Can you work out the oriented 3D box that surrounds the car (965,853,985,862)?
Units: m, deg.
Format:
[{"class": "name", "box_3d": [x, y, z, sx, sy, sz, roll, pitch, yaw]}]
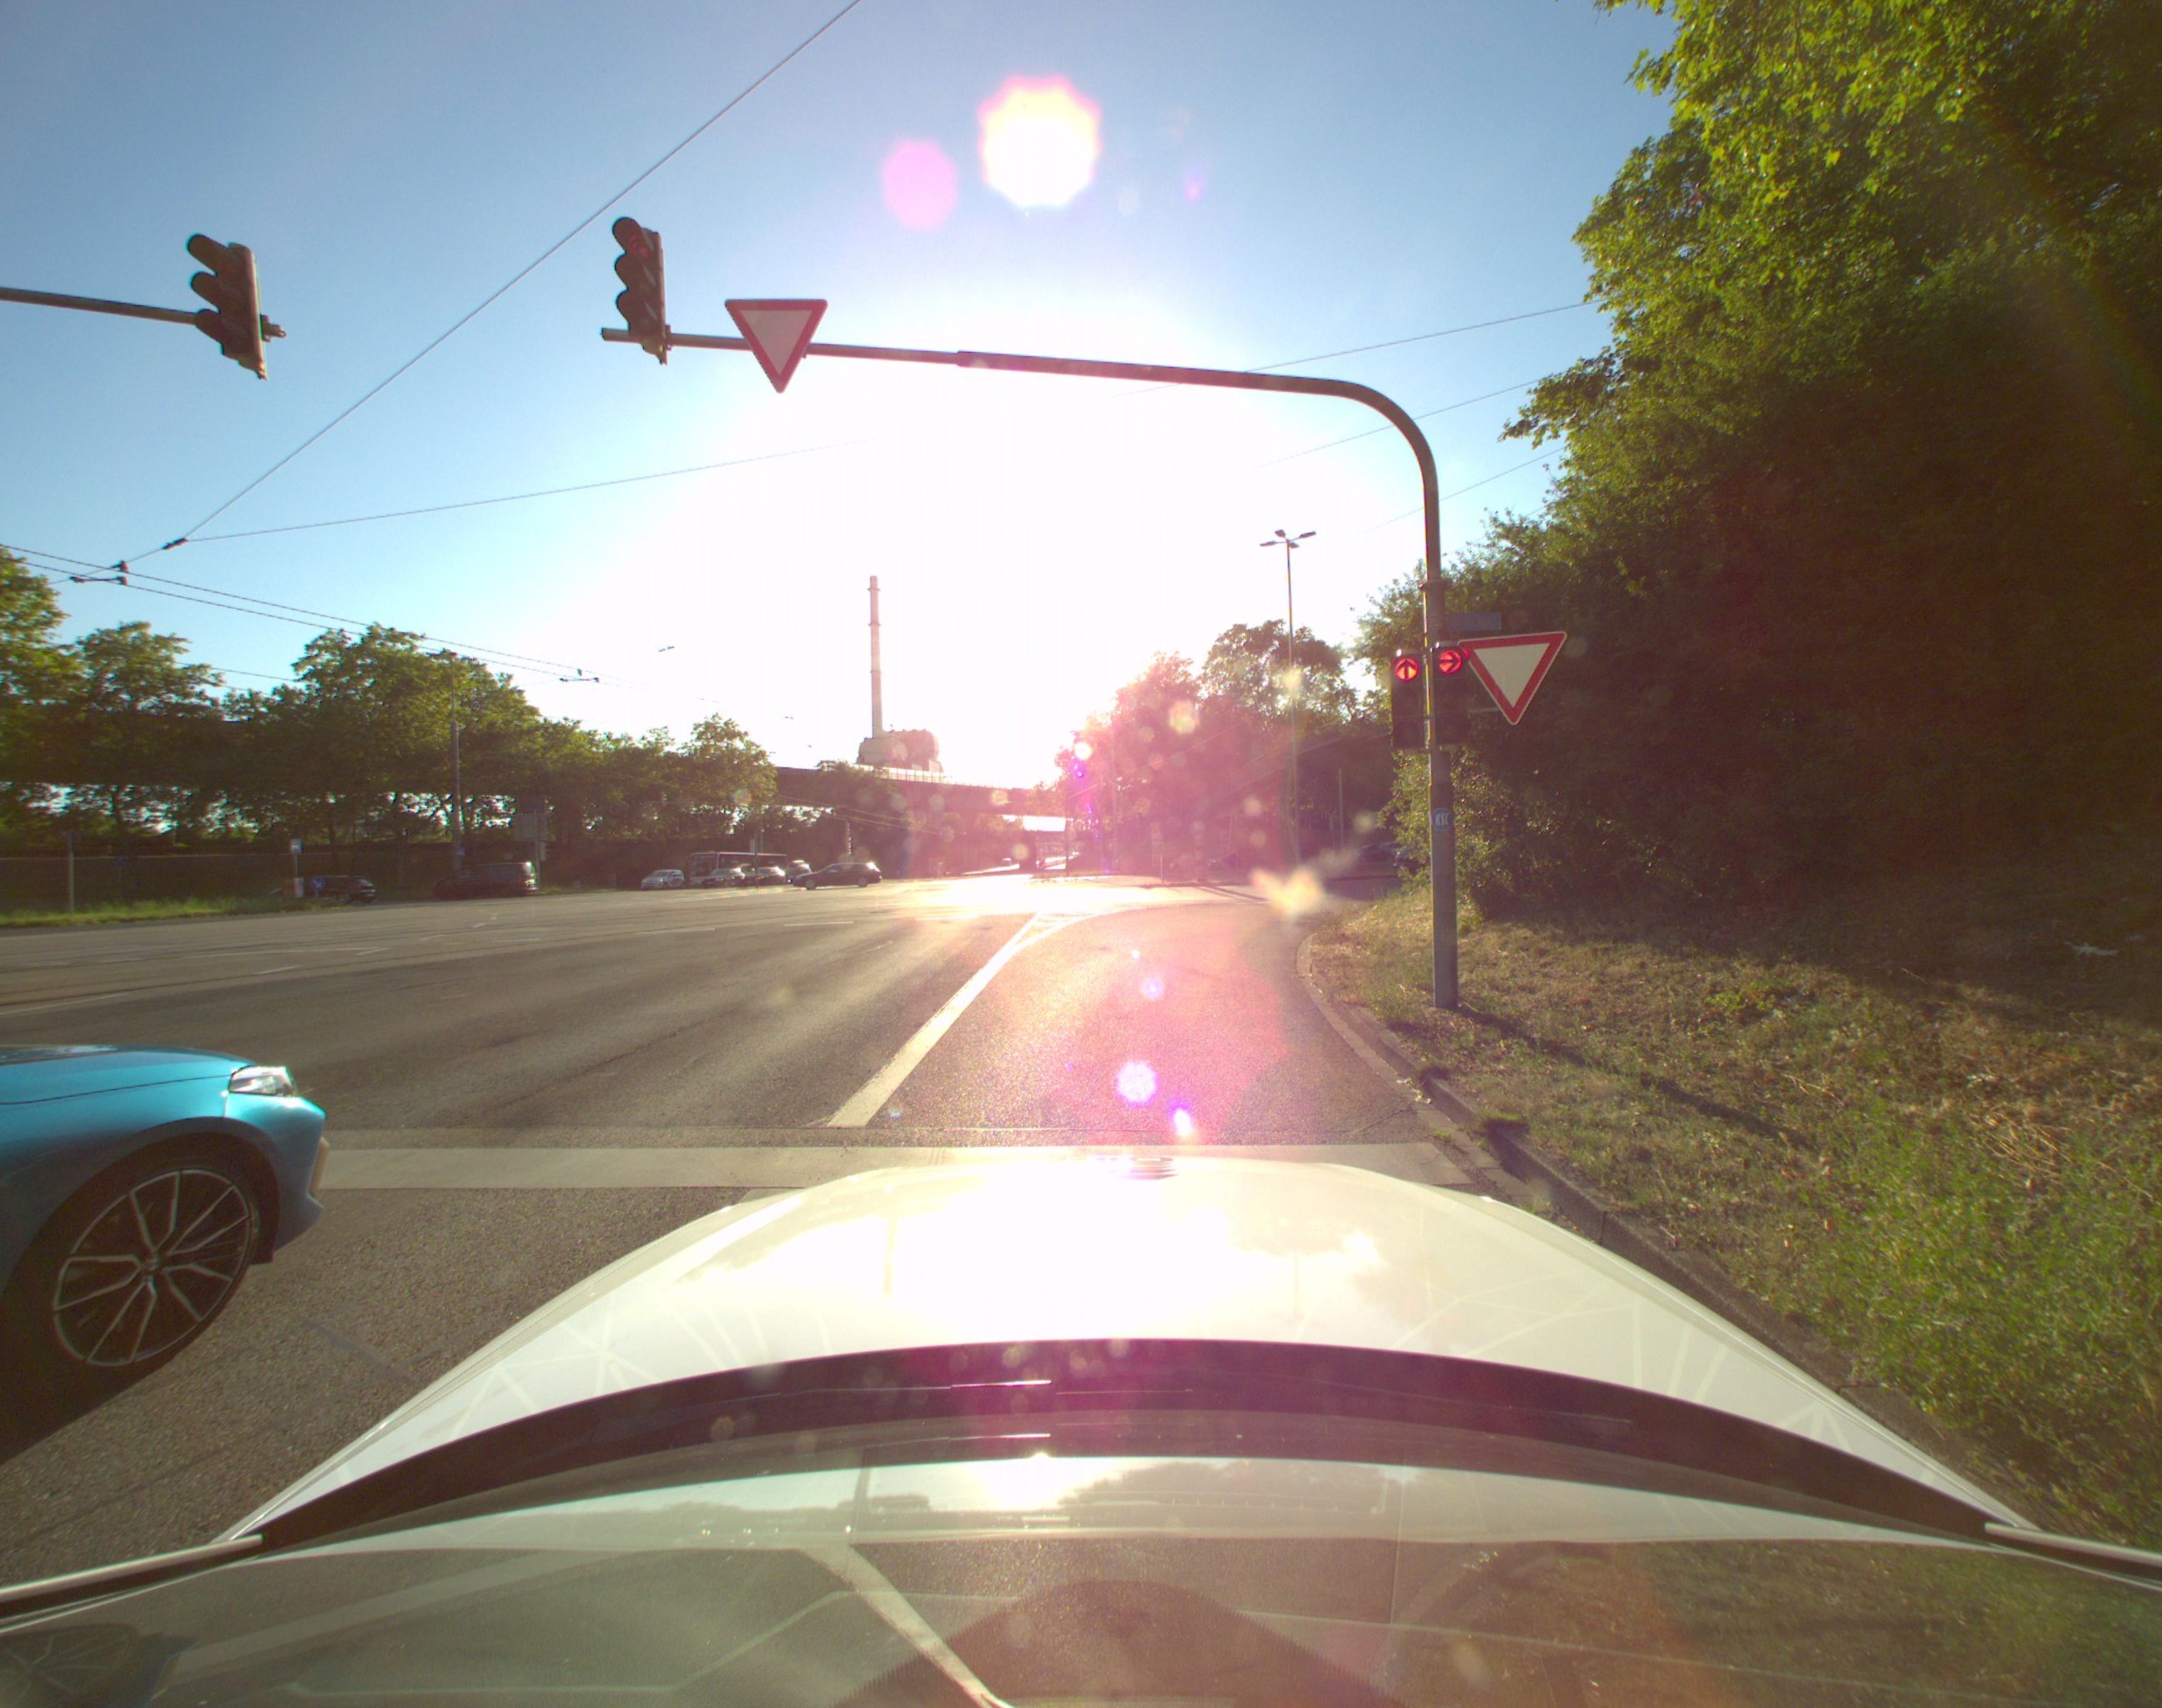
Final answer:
[{"class": "car", "box_3d": [-21.510, 0.695, 165.685, 1.974, 1.771, 4.025, -1, -1, 34]}]

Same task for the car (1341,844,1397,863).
[{"class": "car", "box_3d": [21.878, -0.037, 61.943, 3.730, 1.422, 1.687, -1, 0, -17]}]

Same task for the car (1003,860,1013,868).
[{"class": "car", "box_3d": [-17.052, 2.369, 190.064, 1.703, 1.652, 4.101, -1, 0, 5]}]

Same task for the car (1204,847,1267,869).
[{"class": "car", "box_3d": [10.164, 0.260, 53.710, 3.730, 1.422, 1.687, -1, 0, -17]}]

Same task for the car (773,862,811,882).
[{"class": "car", "box_3d": [-25.524, 1.568, 72.046, 1.704, 1.652, 4.097, -1, 0, 2]}]

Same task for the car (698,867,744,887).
[{"class": "car", "box_3d": [-26.321, 1.656, 59.632, 1.599, 1.354, 3.999, -1, 0, 0]}]

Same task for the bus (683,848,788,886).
[{"class": "bus", "box_3d": [-29.539, 1.042, 70.664, 2.810, 2.954, 12.866, -1, 0, 4]}]

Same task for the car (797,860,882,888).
[{"class": "car", "box_3d": [-13.742, 1.139, 46.437, 4.531, 1.454, 1.988, -1, 0, -17]}]

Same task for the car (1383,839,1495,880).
[{"class": "car", "box_3d": [14.098, 0.212, 32.111, 3.917, 1.517, 1.723, -1, 0, -20]}]

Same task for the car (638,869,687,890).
[{"class": "car", "box_3d": [-30.099, 1.820, 58.692, 1.599, 1.354, 3.734, -1, 0, 0]}]

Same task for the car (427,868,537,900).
[{"class": "car", "box_3d": [-33.655, 1.672, 45.921, 4.528, 1.623, 1.990, -1, 0, -15]}]

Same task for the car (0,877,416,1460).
[{"class": "car", "box_3d": [-3.573, 0.811, 1.034, 1.779, 1.417, 4.511, -1, 0, -1]}]

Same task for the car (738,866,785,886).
[{"class": "car", "box_3d": [-23.523, 1.581, 60.102, 1.704, 1.354, 4.097, -1, 0, 2]}]

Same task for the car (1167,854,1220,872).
[{"class": "car", "box_3d": [9.500, 0.729, 68.827, 4.103, 1.422, 1.705, -1, 0, 19]}]

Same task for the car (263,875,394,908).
[{"class": "car", "box_3d": [-38.035, 1.882, 41.252, 4.515, 1.454, 1.995, -1, 0, -7]}]
